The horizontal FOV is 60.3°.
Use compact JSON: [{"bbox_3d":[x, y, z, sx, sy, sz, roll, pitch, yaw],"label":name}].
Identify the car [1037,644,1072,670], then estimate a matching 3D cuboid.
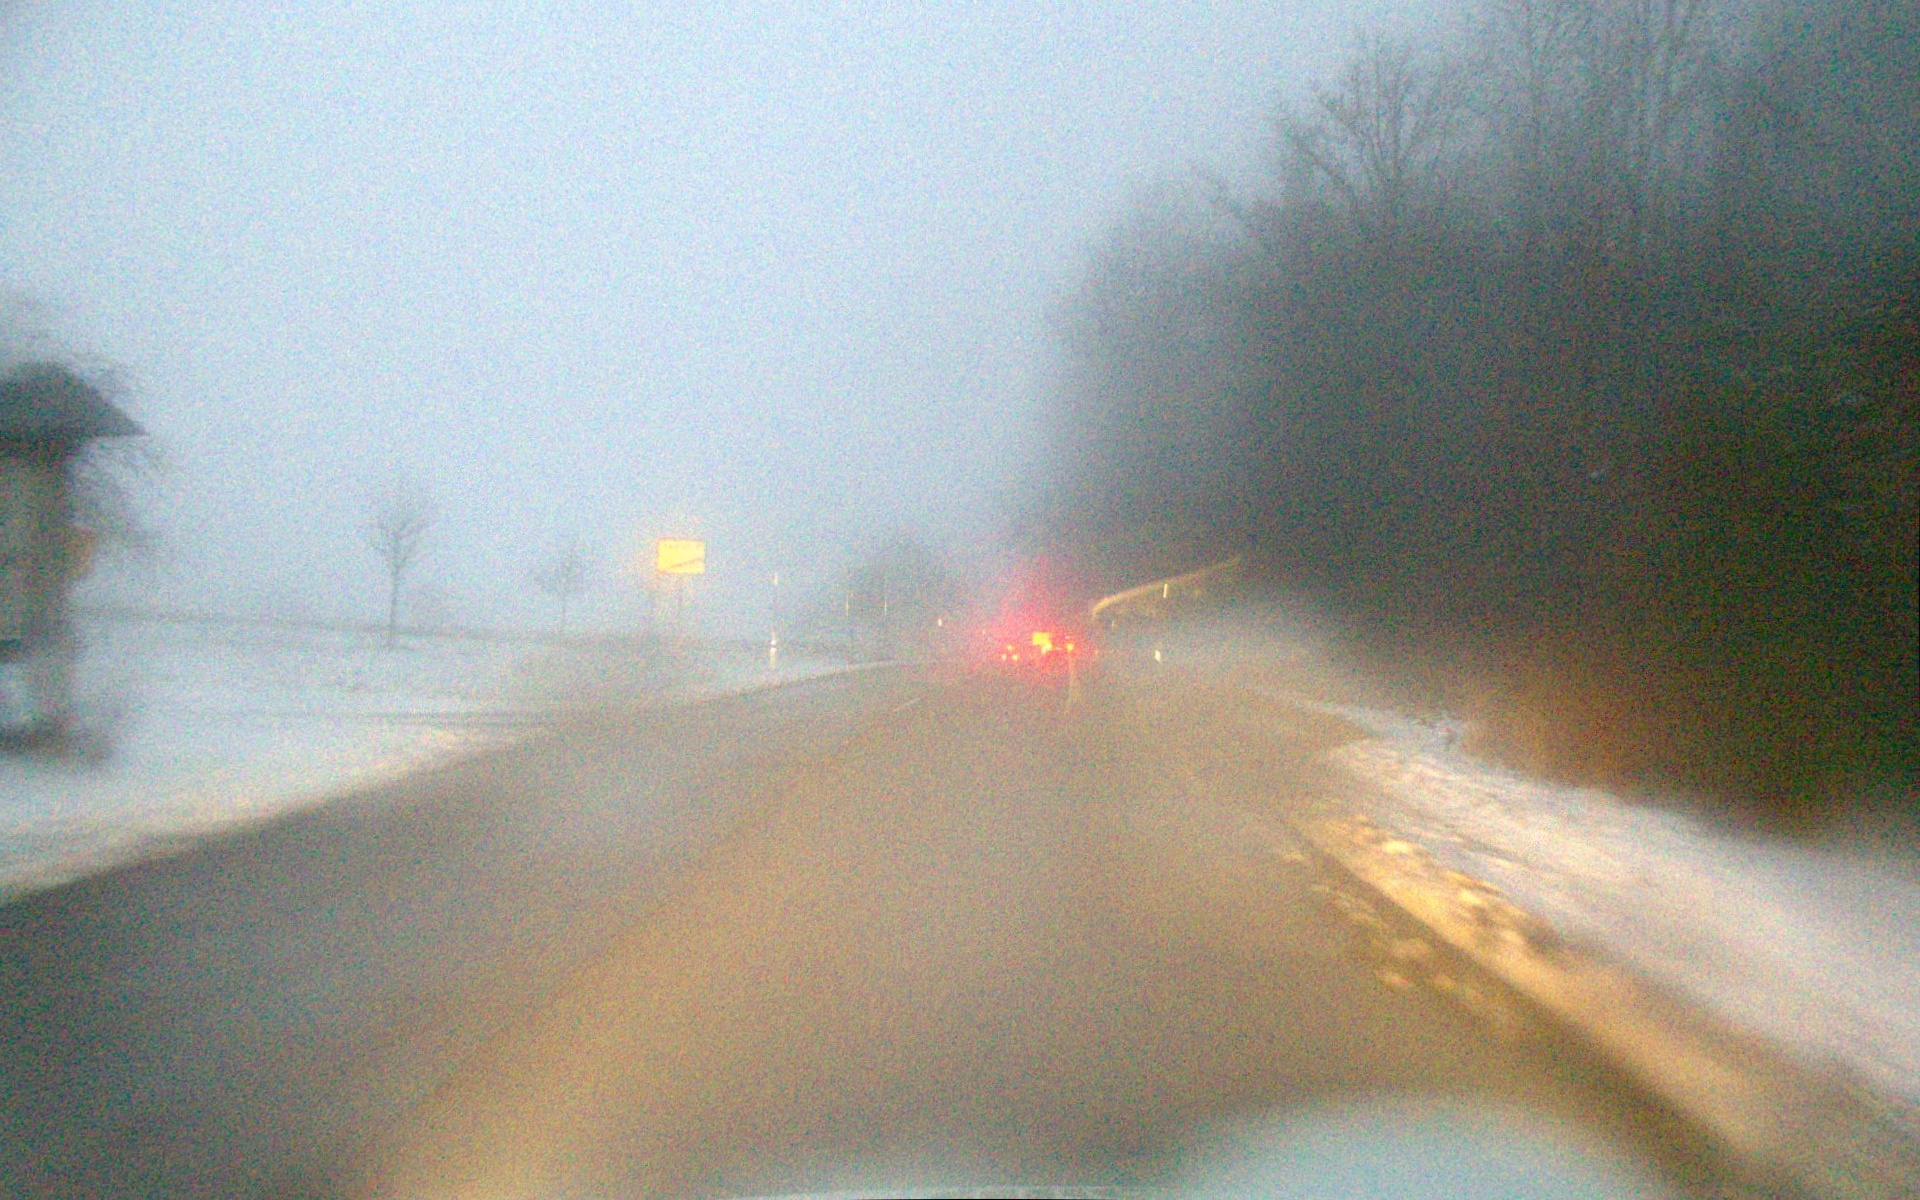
[{"bbox_3d":[5.523,3.328,97.302,1.952,1.445,4.001,1,-1,2],"label":"car"}]
